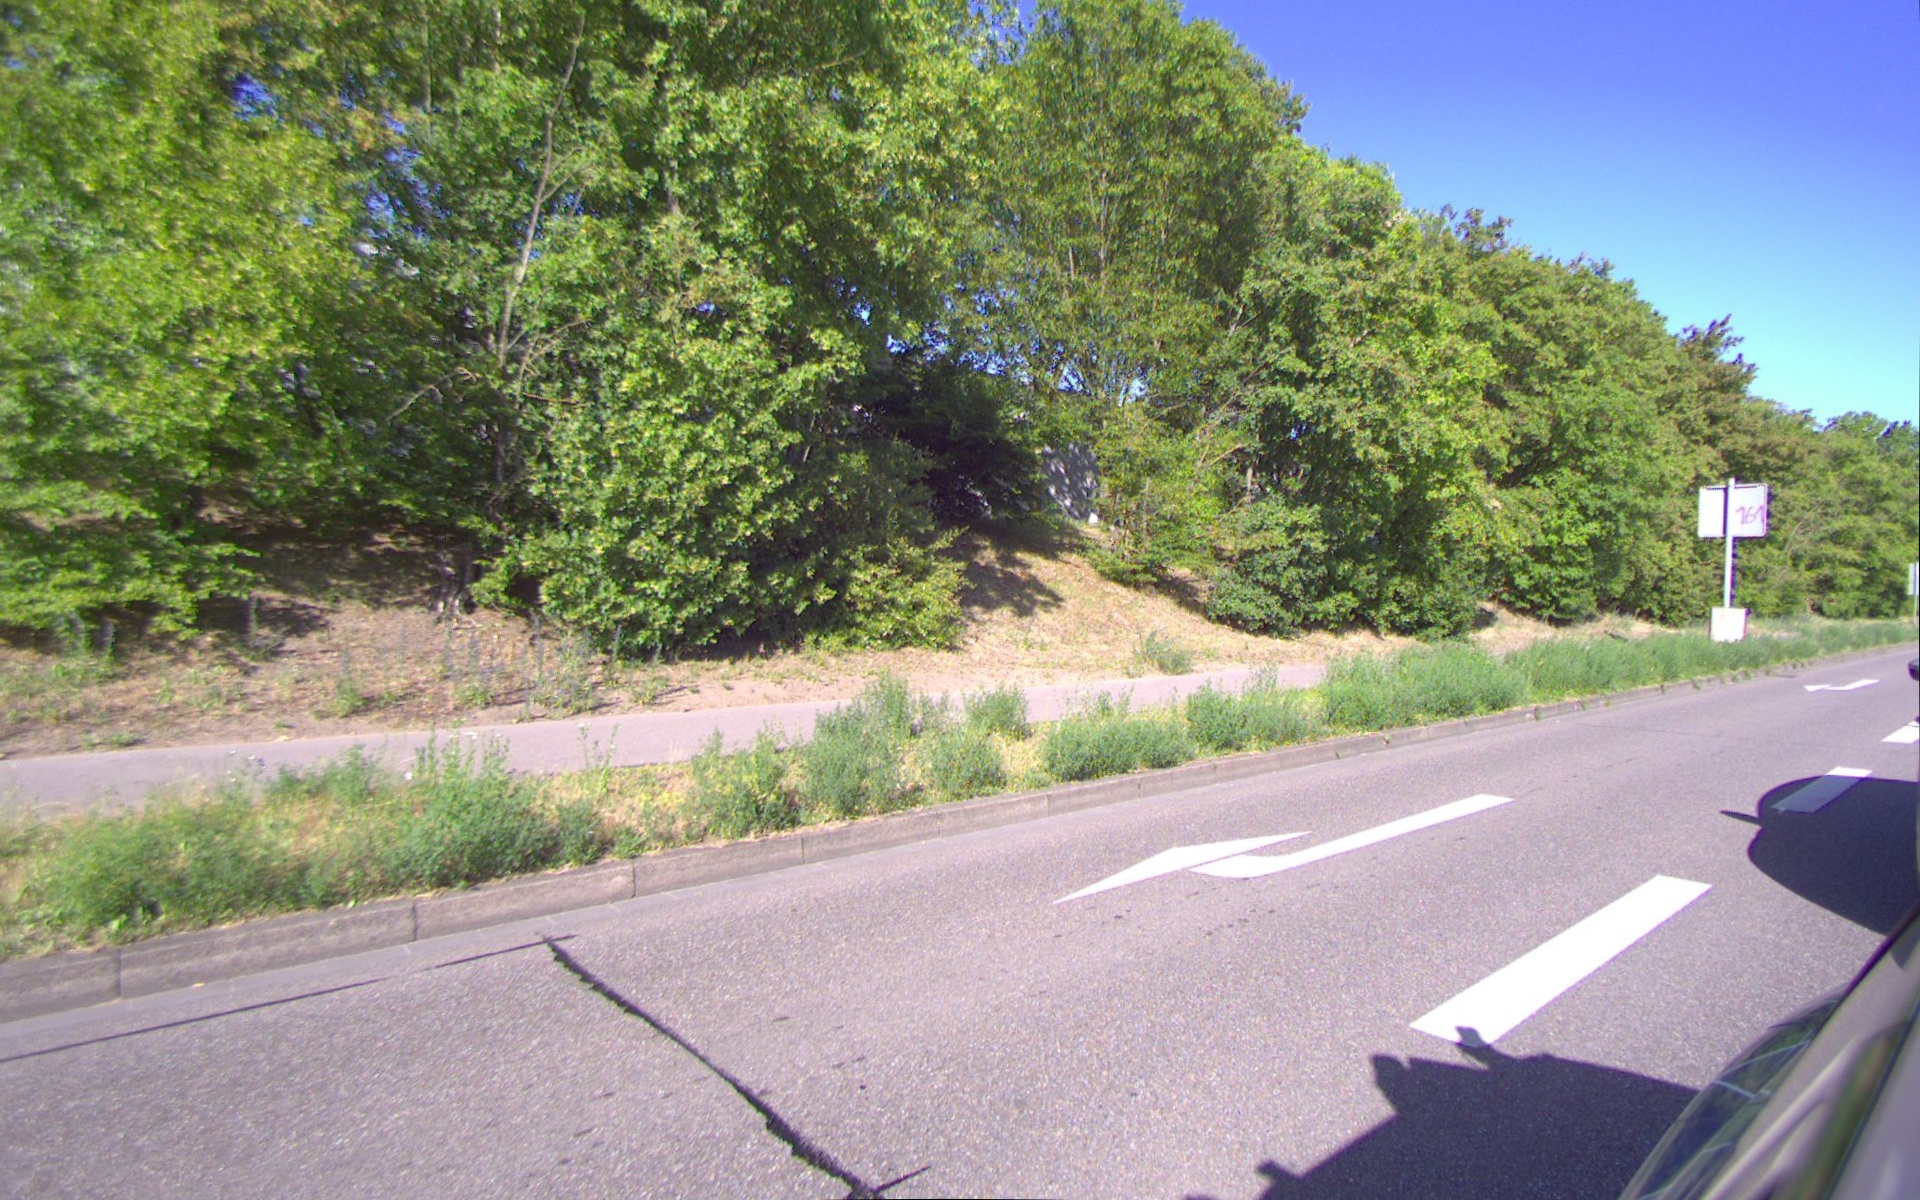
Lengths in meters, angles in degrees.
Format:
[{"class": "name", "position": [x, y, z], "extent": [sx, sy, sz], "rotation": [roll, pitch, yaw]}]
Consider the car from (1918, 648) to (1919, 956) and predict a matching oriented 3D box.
[{"class": "car", "position": [5.967, 0.653, 4.676], "extent": [3.863, 1.617, 1.869], "rotation": [0, 0, -41]}]
